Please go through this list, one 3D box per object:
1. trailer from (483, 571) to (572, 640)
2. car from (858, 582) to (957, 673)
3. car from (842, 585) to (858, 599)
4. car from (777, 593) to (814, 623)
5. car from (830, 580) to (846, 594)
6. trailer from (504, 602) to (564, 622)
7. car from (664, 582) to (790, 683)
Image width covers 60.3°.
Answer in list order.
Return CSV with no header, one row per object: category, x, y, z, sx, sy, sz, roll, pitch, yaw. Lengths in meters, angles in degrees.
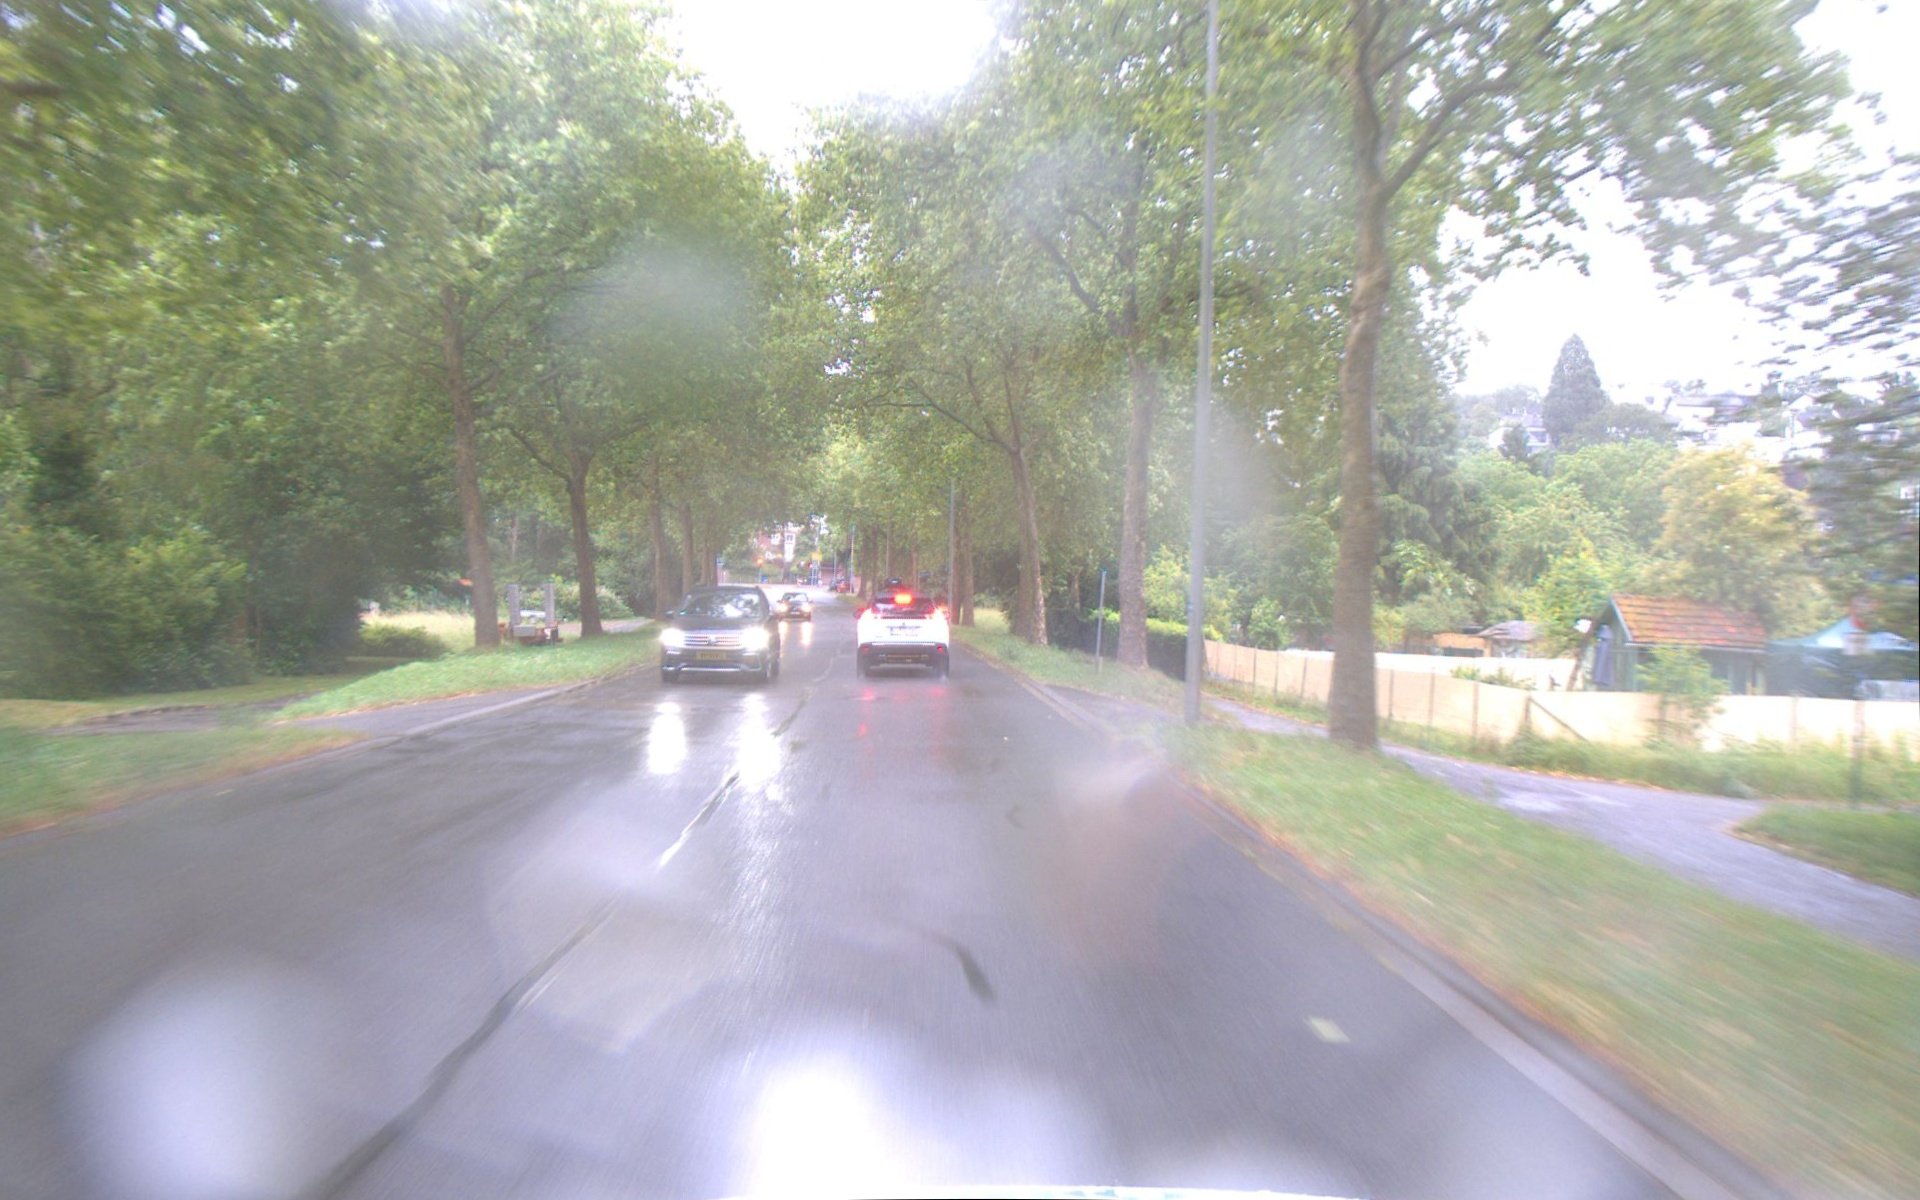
trailer,-17.432,0.189,66.915,2.436,2.612,5.328,2,0,-4
car,-1.004,0.488,32.077,1.757,1.606,3.843,1,1,-2
car,-12.934,-0.928,194.299,1.790,1.624,3.652,2,0,-2
car,-8.737,0.397,87.800,1.675,1.512,3.872,2,0,-9
car,-15.052,-1.608,203.838,1.790,1.624,3.652,2,0,-2
trailer,-26.356,0.759,102.442,3.490,1.199,1.818,0,1,-12
car,-4.049,0.528,29.329,1.696,1.616,4.309,2,0,-2
